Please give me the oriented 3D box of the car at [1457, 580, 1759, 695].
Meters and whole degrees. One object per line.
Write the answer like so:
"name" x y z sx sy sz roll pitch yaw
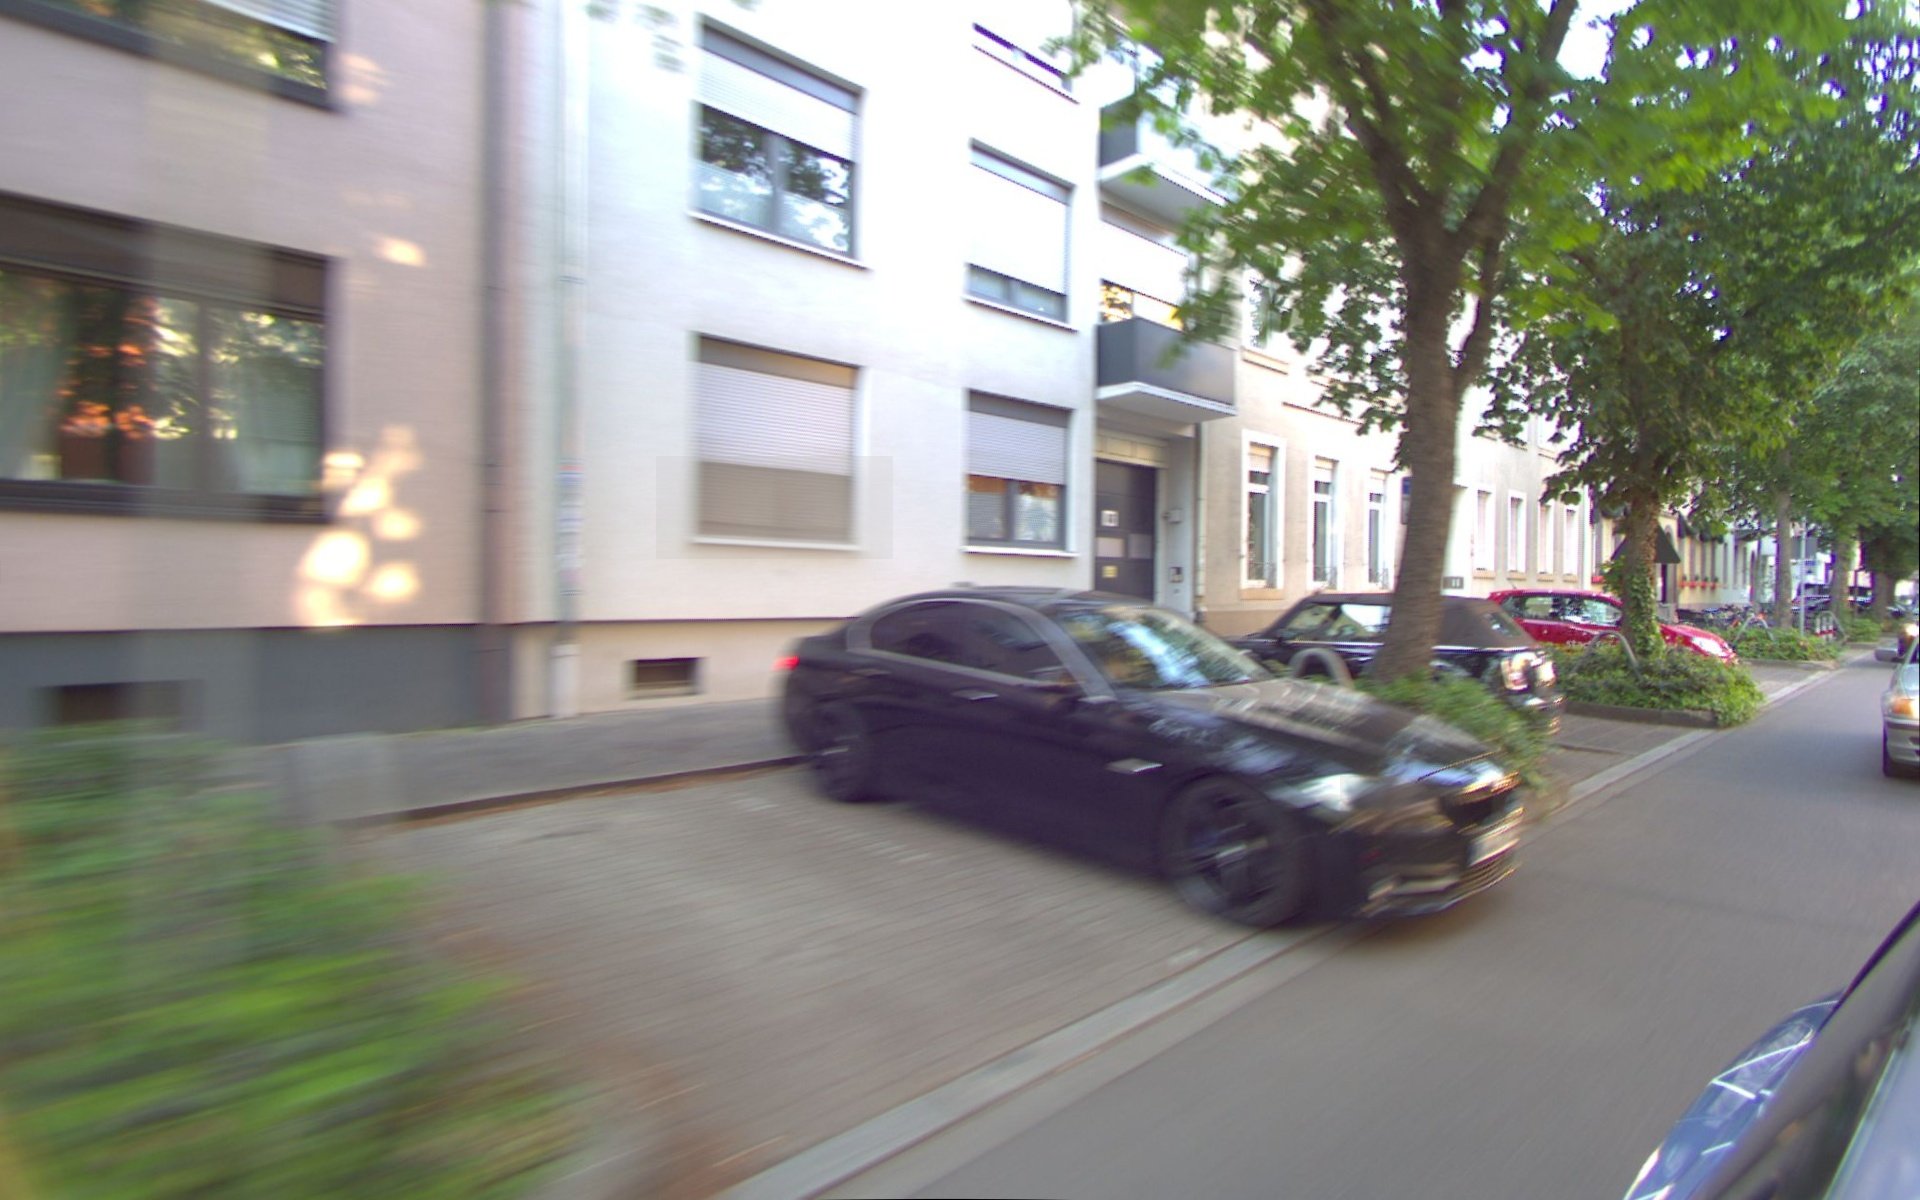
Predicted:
"car" 10.002 0.481 15.787 3.722 1.572 1.727 1 1 44

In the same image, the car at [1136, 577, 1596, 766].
"car" 3.820 0.530 9.893 3.833 1.428 1.687 2 2 42

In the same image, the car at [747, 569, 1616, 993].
"car" 0.858 0.611 6.081 1.955 1.516 4.879 0 1 -43

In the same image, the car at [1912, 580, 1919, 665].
"car" 20.858 0.426 20.465 3.929 1.666 1.892 -1 0 -40

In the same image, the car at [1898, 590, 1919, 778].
"car" 9.187 0.621 8.479 4.261 1.388 1.733 -1 1 -44
